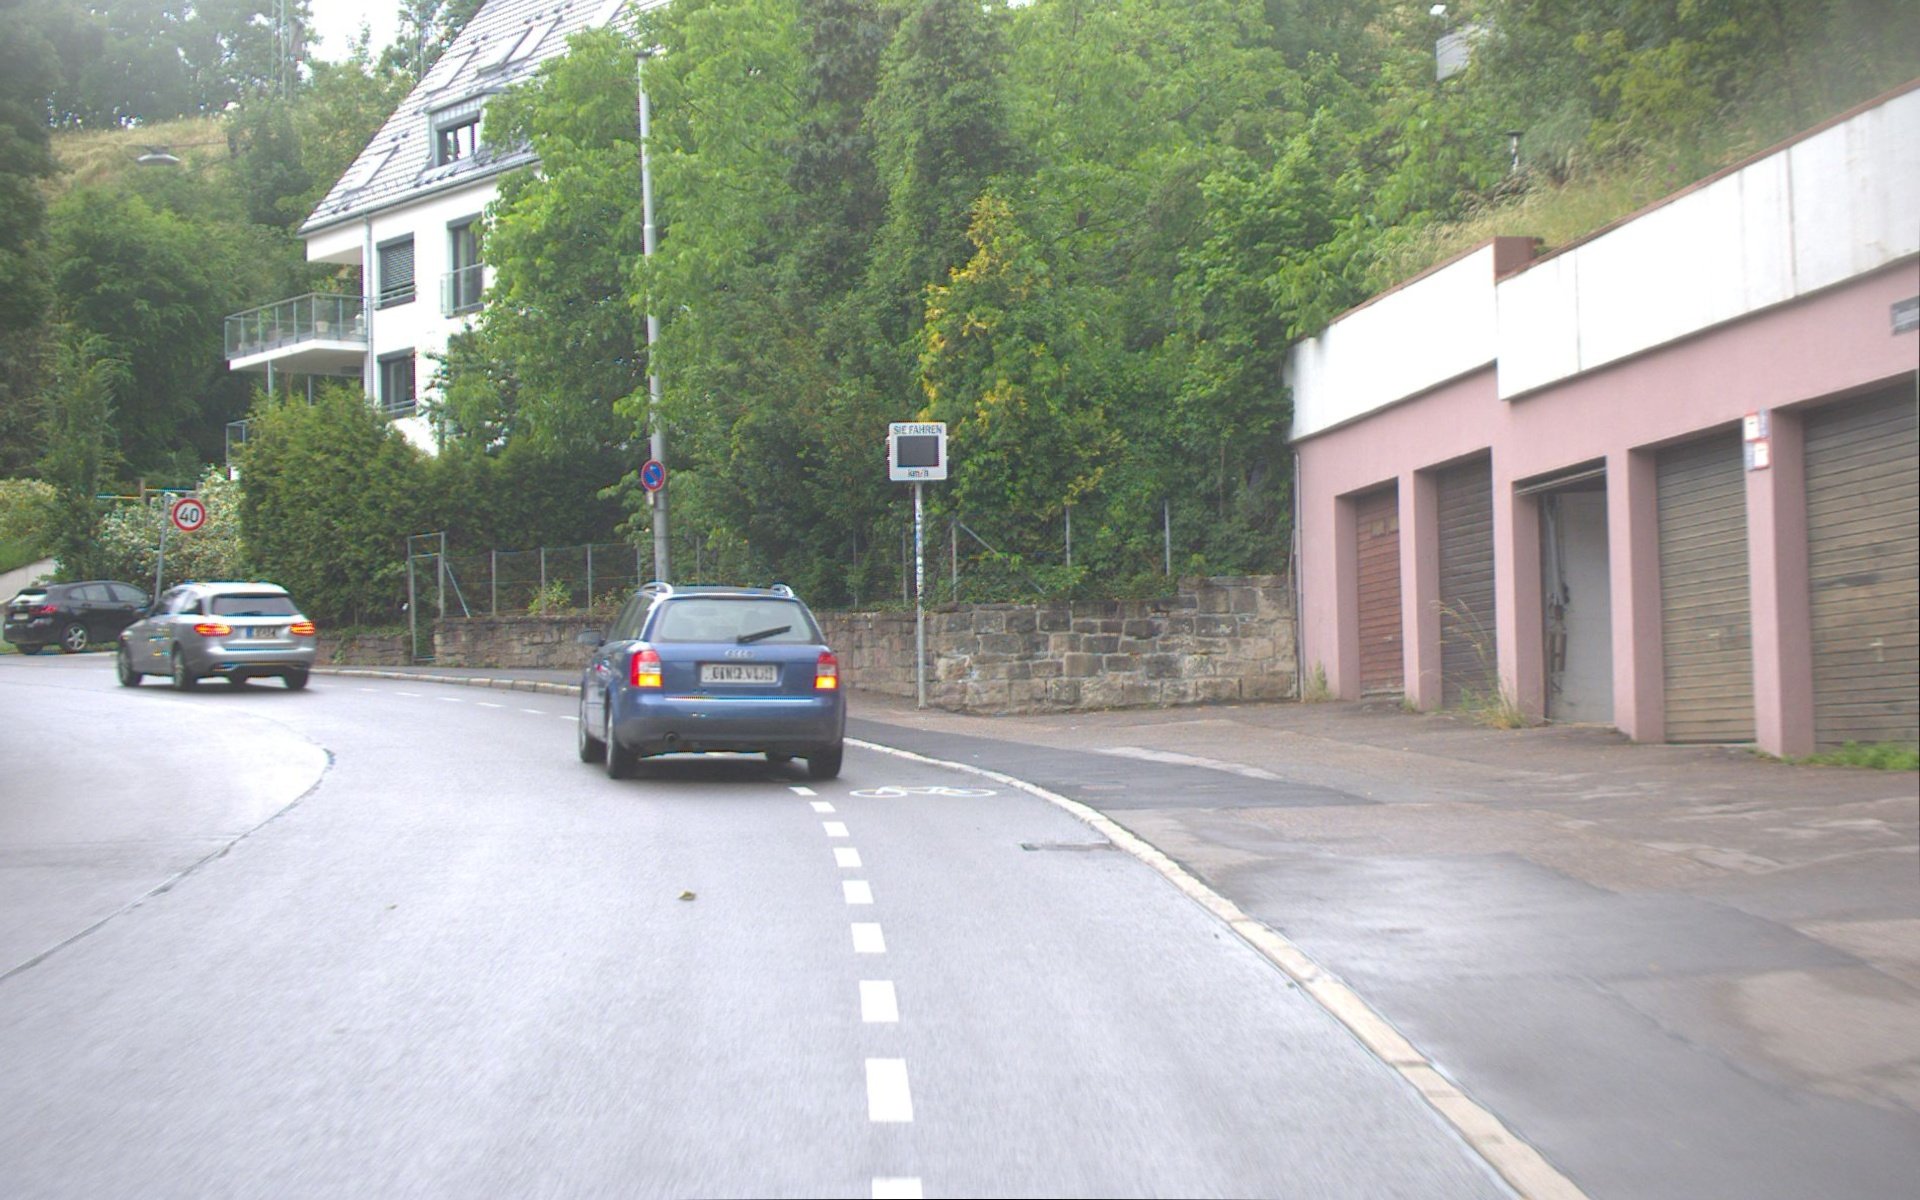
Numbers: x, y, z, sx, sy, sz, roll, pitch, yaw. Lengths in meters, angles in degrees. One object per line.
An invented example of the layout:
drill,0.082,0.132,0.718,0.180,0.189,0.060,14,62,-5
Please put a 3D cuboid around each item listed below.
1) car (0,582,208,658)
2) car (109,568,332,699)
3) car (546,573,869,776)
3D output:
car,-17.597,0.386,70.305,1.738,1.503,4.173,0,0,38
car,-10.308,0.435,47.687,1.949,1.556,4.264,3,1,-27
car,-2.057,0.512,26.732,1.853,1.409,4.363,0,1,-13
